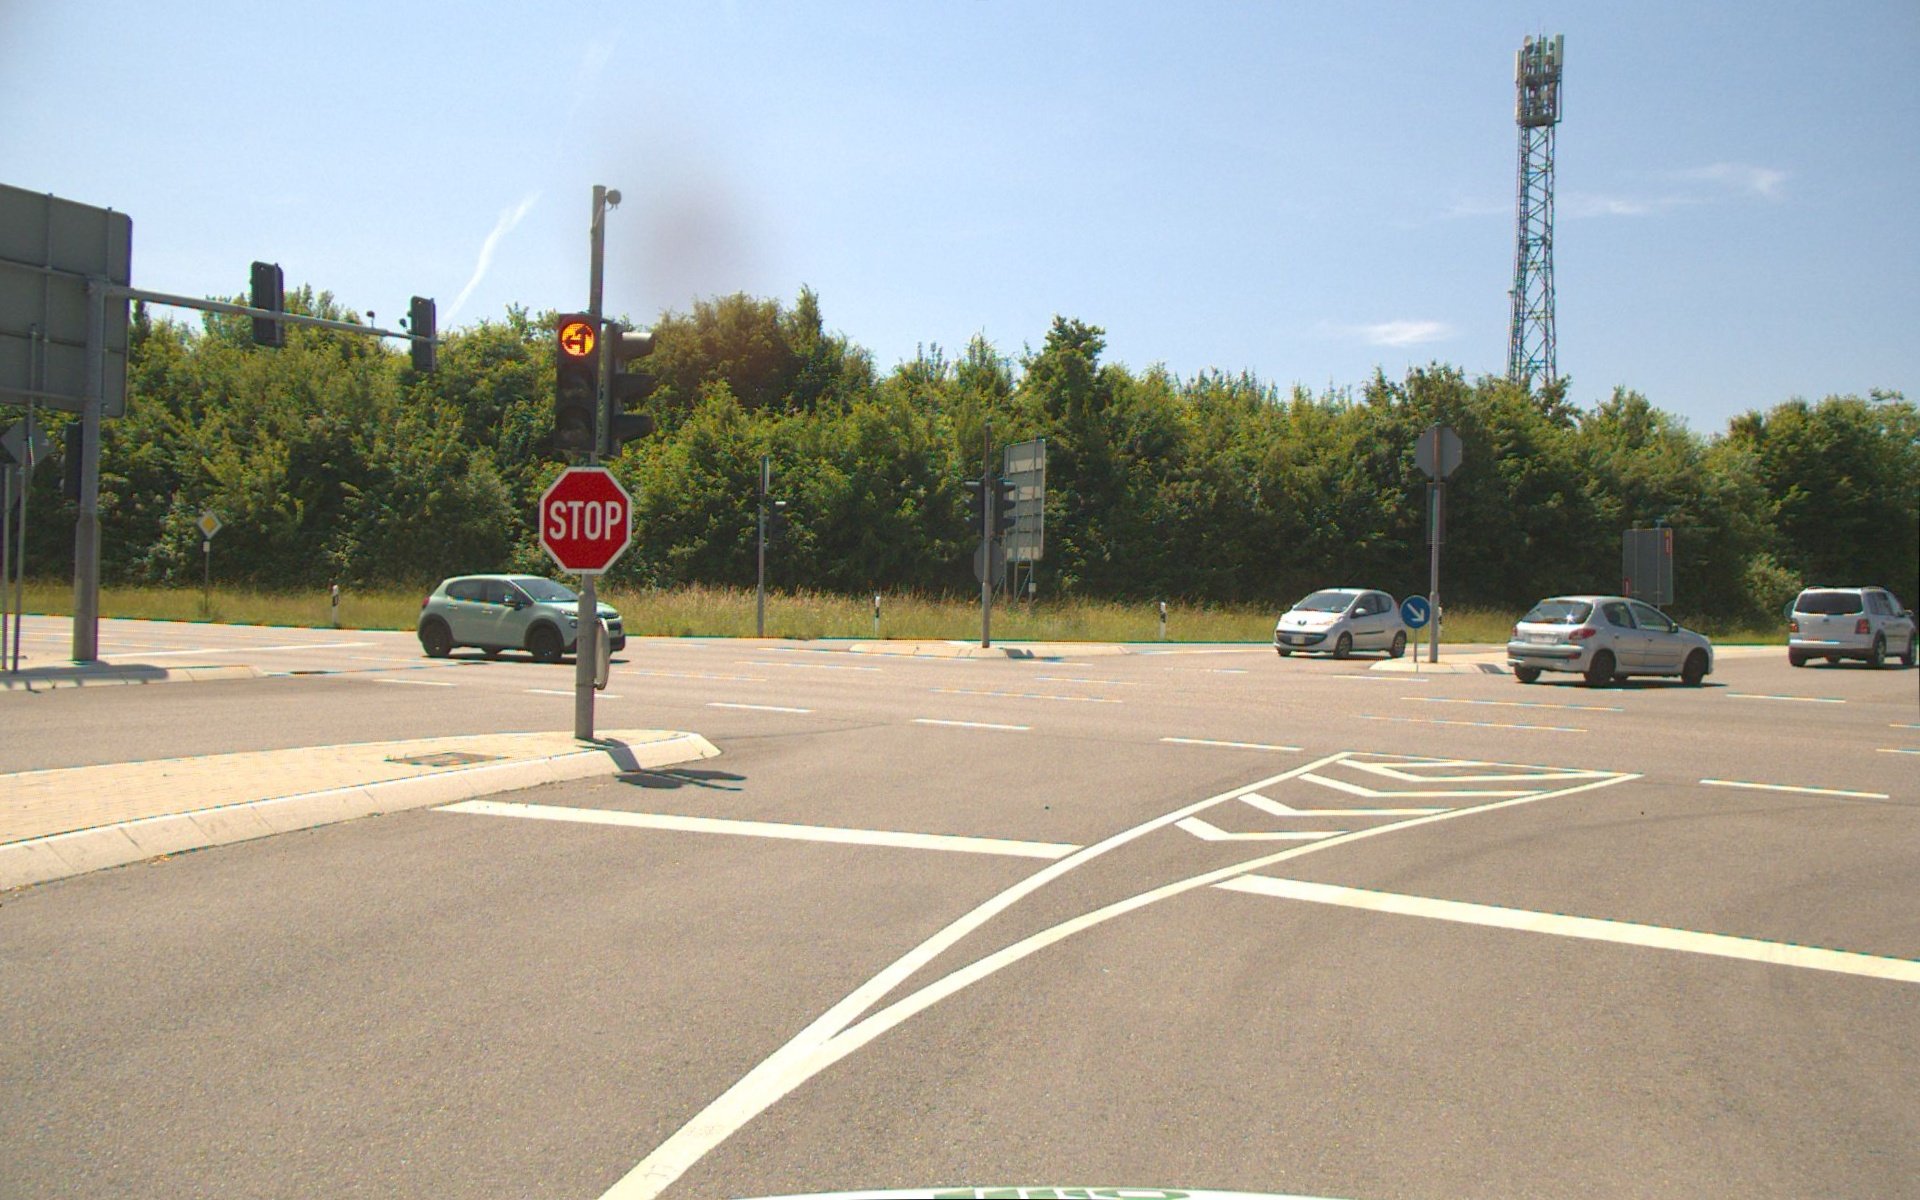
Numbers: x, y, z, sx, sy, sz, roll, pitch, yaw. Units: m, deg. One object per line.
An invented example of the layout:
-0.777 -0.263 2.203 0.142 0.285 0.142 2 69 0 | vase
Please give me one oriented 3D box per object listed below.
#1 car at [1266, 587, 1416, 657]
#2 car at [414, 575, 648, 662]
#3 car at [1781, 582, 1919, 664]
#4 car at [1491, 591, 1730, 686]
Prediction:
8.246 0.441 35.658 1.544 1.394 3.506 2 2 45 | car
-7.771 0.299 29.939 3.894 1.428 1.734 1 2 24 | car
19.360 0.445 35.818 1.787 1.653 4.033 1 1 43 | car
10.857 0.591 27.574 3.731 1.438 1.801 0 1 -30 | car
